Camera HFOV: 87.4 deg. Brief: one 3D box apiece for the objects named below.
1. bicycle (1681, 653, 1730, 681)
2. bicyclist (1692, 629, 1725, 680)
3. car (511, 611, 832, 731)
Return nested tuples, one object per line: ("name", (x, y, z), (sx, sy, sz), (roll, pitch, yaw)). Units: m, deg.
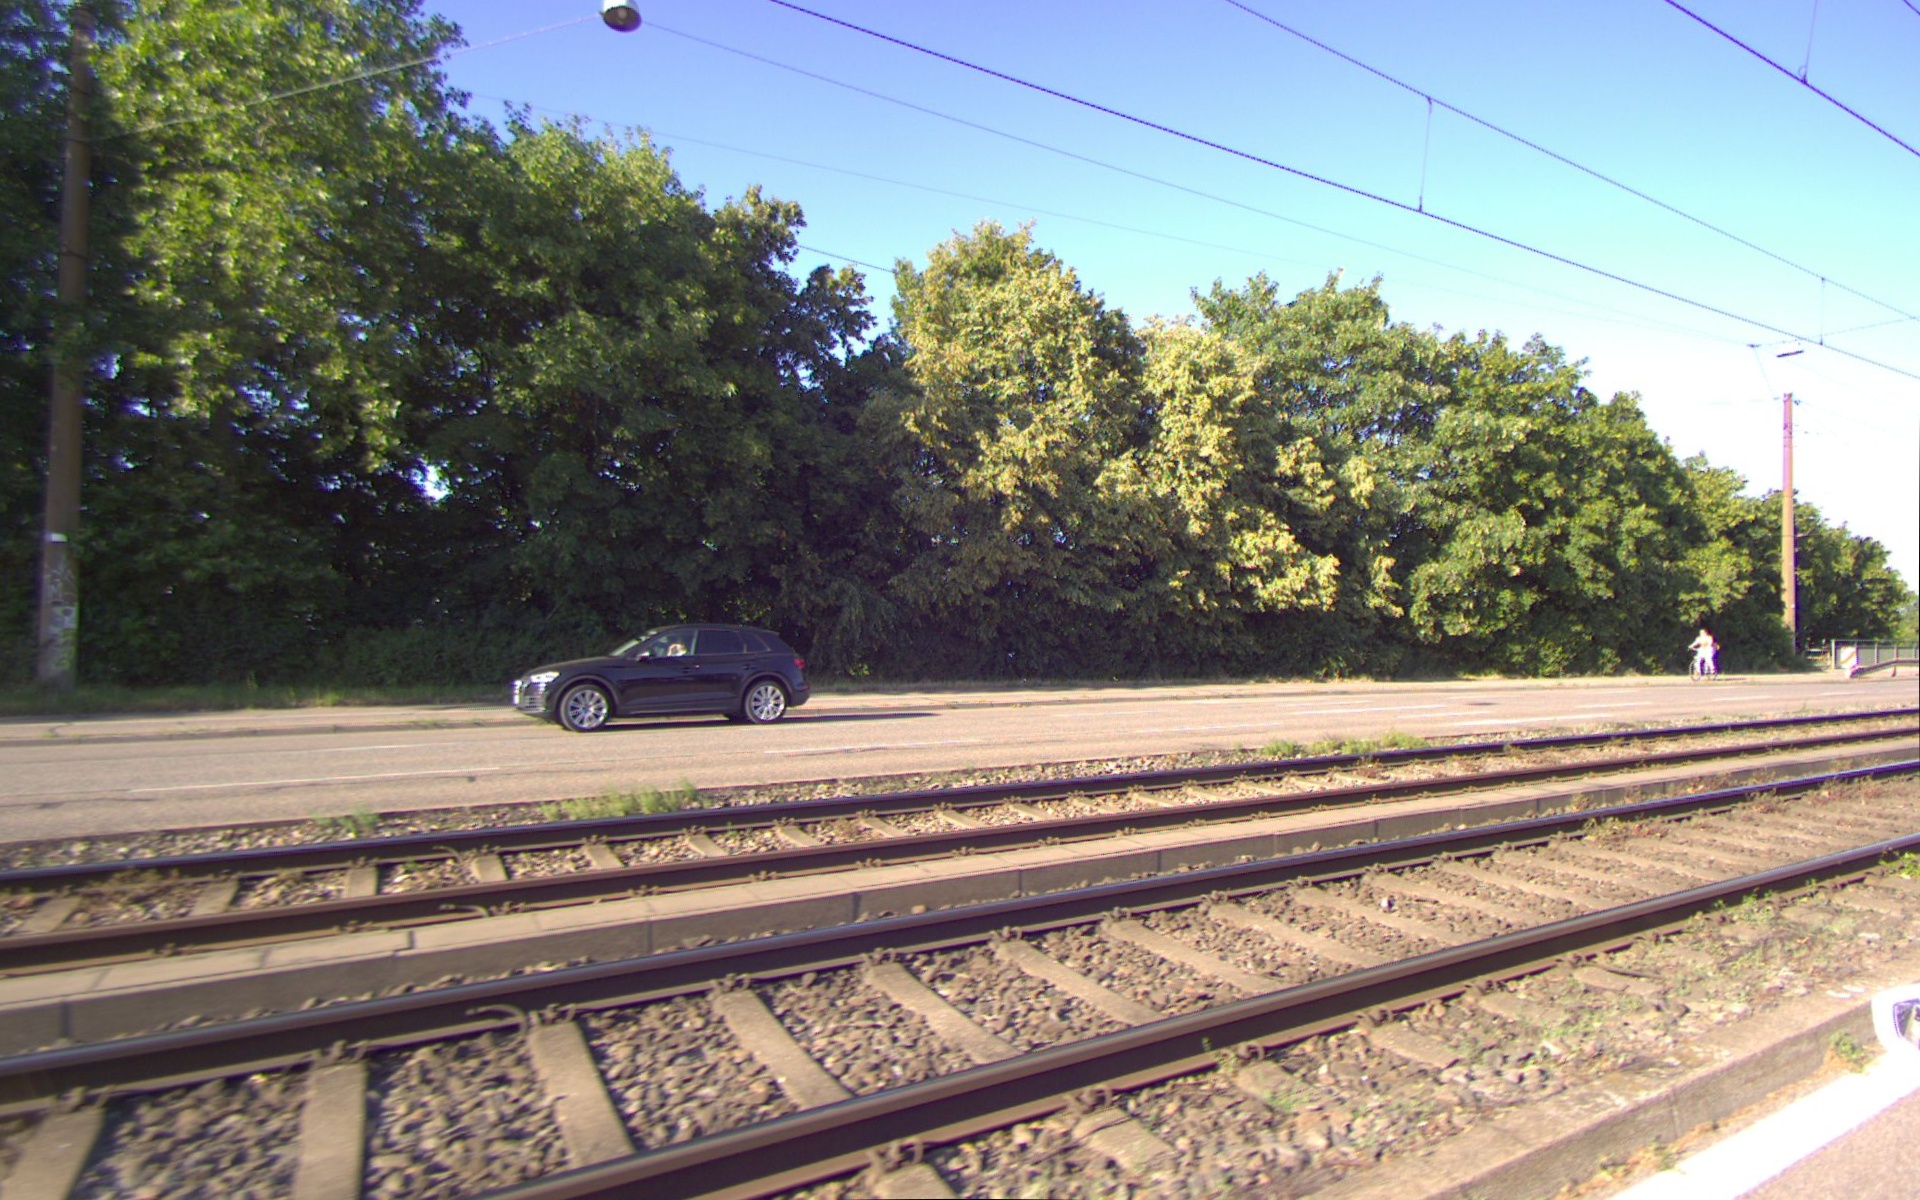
("bicycle", (25.550, 2.290, 34.420), (2.001, 0.904, 0.505), (2, 0, -28))
("bicyclist", (25.712, 1.868, 34.492), (0.907, 1.710, 0.506), (2, 1, -27))
("car", (-4.671, 1.147, 16.428), (4.737, 1.707, 1.986), (2, -4, -29))
